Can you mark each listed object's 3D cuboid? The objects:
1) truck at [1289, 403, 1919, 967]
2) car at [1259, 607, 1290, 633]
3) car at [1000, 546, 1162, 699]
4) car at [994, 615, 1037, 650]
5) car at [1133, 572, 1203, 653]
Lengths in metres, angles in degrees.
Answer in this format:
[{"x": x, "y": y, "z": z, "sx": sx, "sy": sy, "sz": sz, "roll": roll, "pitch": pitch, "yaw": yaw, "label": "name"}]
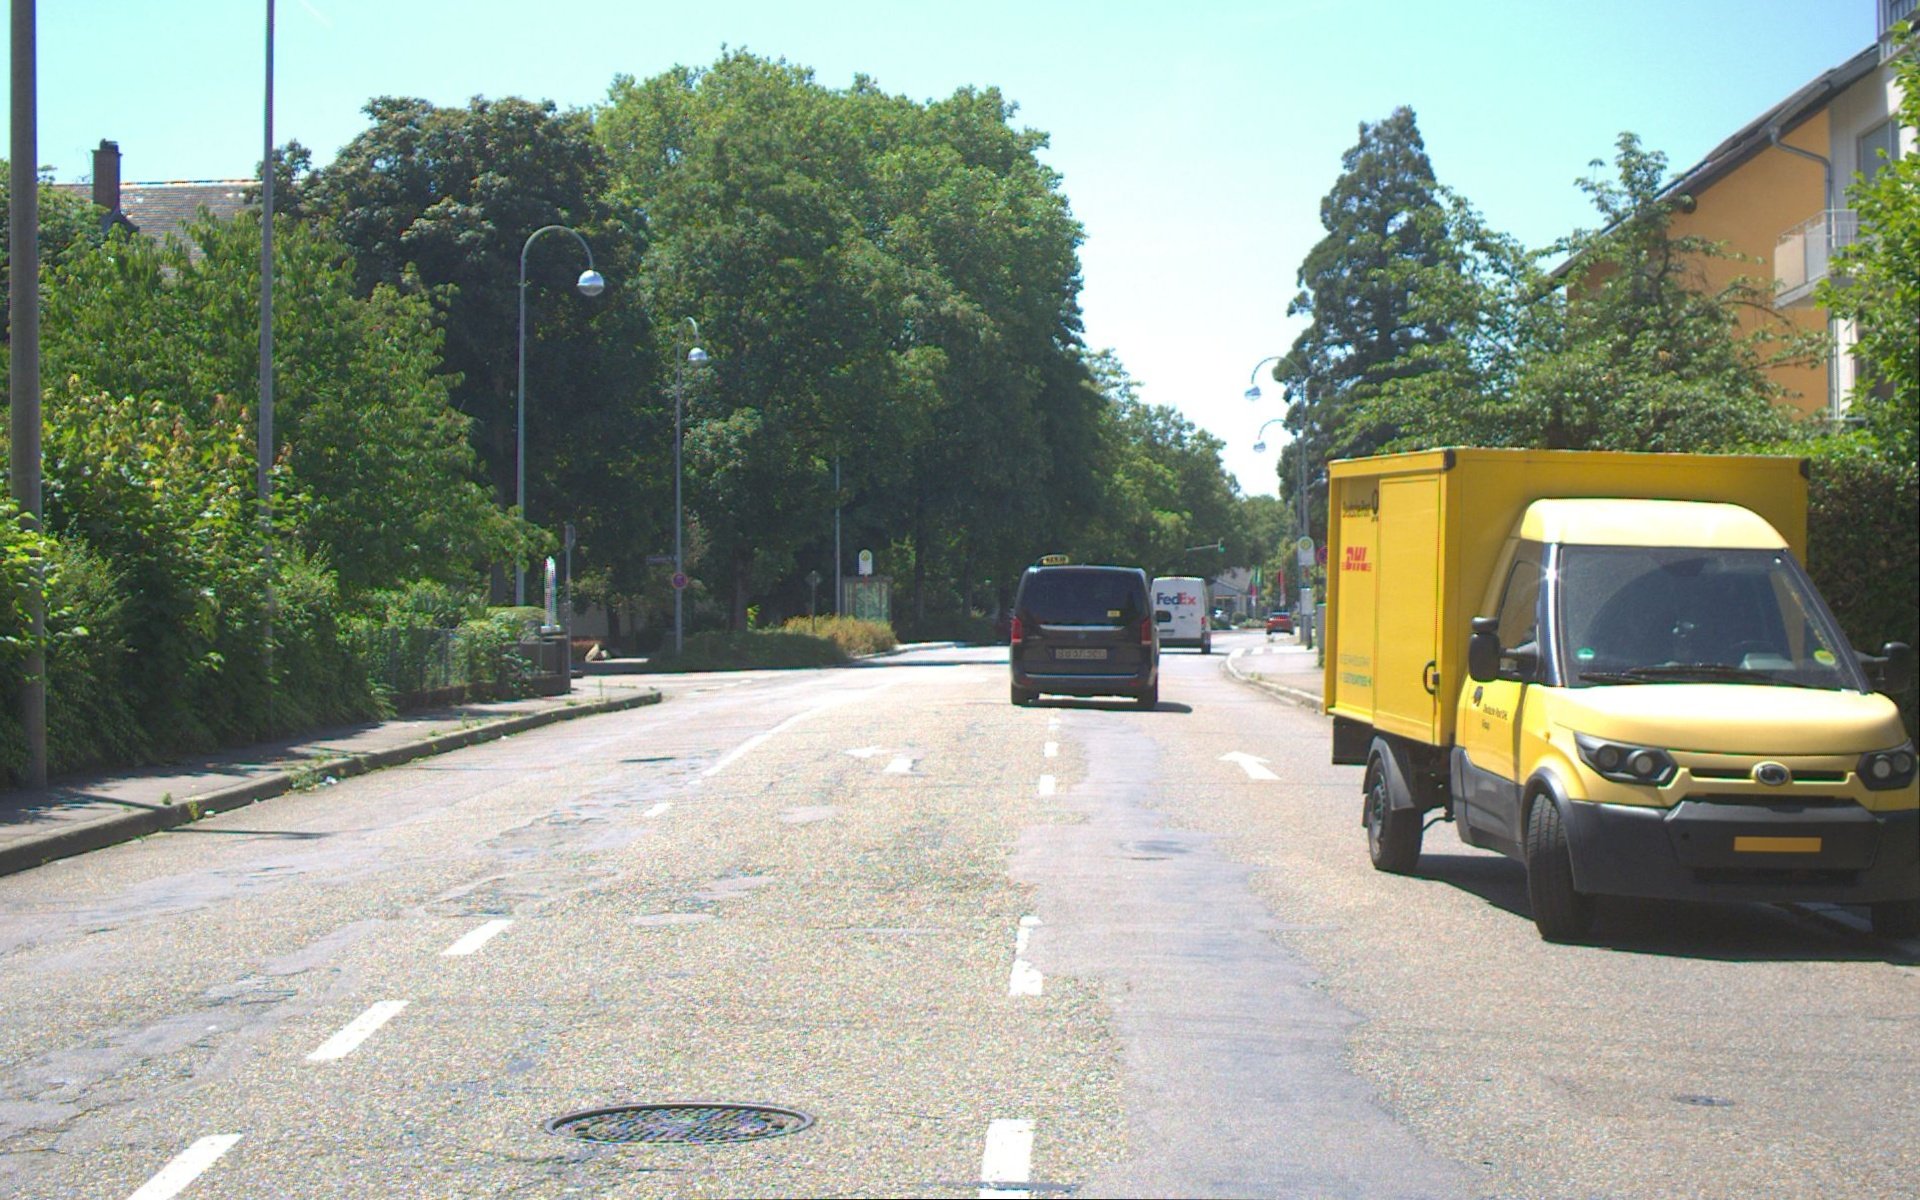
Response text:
[{"x": 3.227, "y": 0.340, "z": 17.441, "sx": 2.013, "sy": 2.301, "sz": 6.177, "roll": 2, "pitch": 0, "yaw": -4, "label": "truck"}, {"x": 20.606, "y": 1.325, "z": 225.293, "sx": 1.858, "sy": 1.637, "sz": 3.999, "roll": 1, "pitch": 0, "yaw": 4, "label": "car"}, {"x": 1.576, "y": 0.271, "z": 45.295, "sx": 1.993, "sy": 1.887, "sz": 4.000, "roll": 1, "pitch": 0, "yaw": 2, "label": "car"}, {"x": 2.371, "y": 1.400, "z": 146.501, "sx": 1.550, "sy": 1.445, "sz": 3.690, "roll": 1, "pitch": -1, "yaw": 5, "label": "car"}, {"x": 7.137, "y": 0.390, "z": 117.411, "sx": 2.120, "sy": 2.669, "sz": 5.661, "roll": 1, "pitch": 0, "yaw": 6, "label": "car"}]
